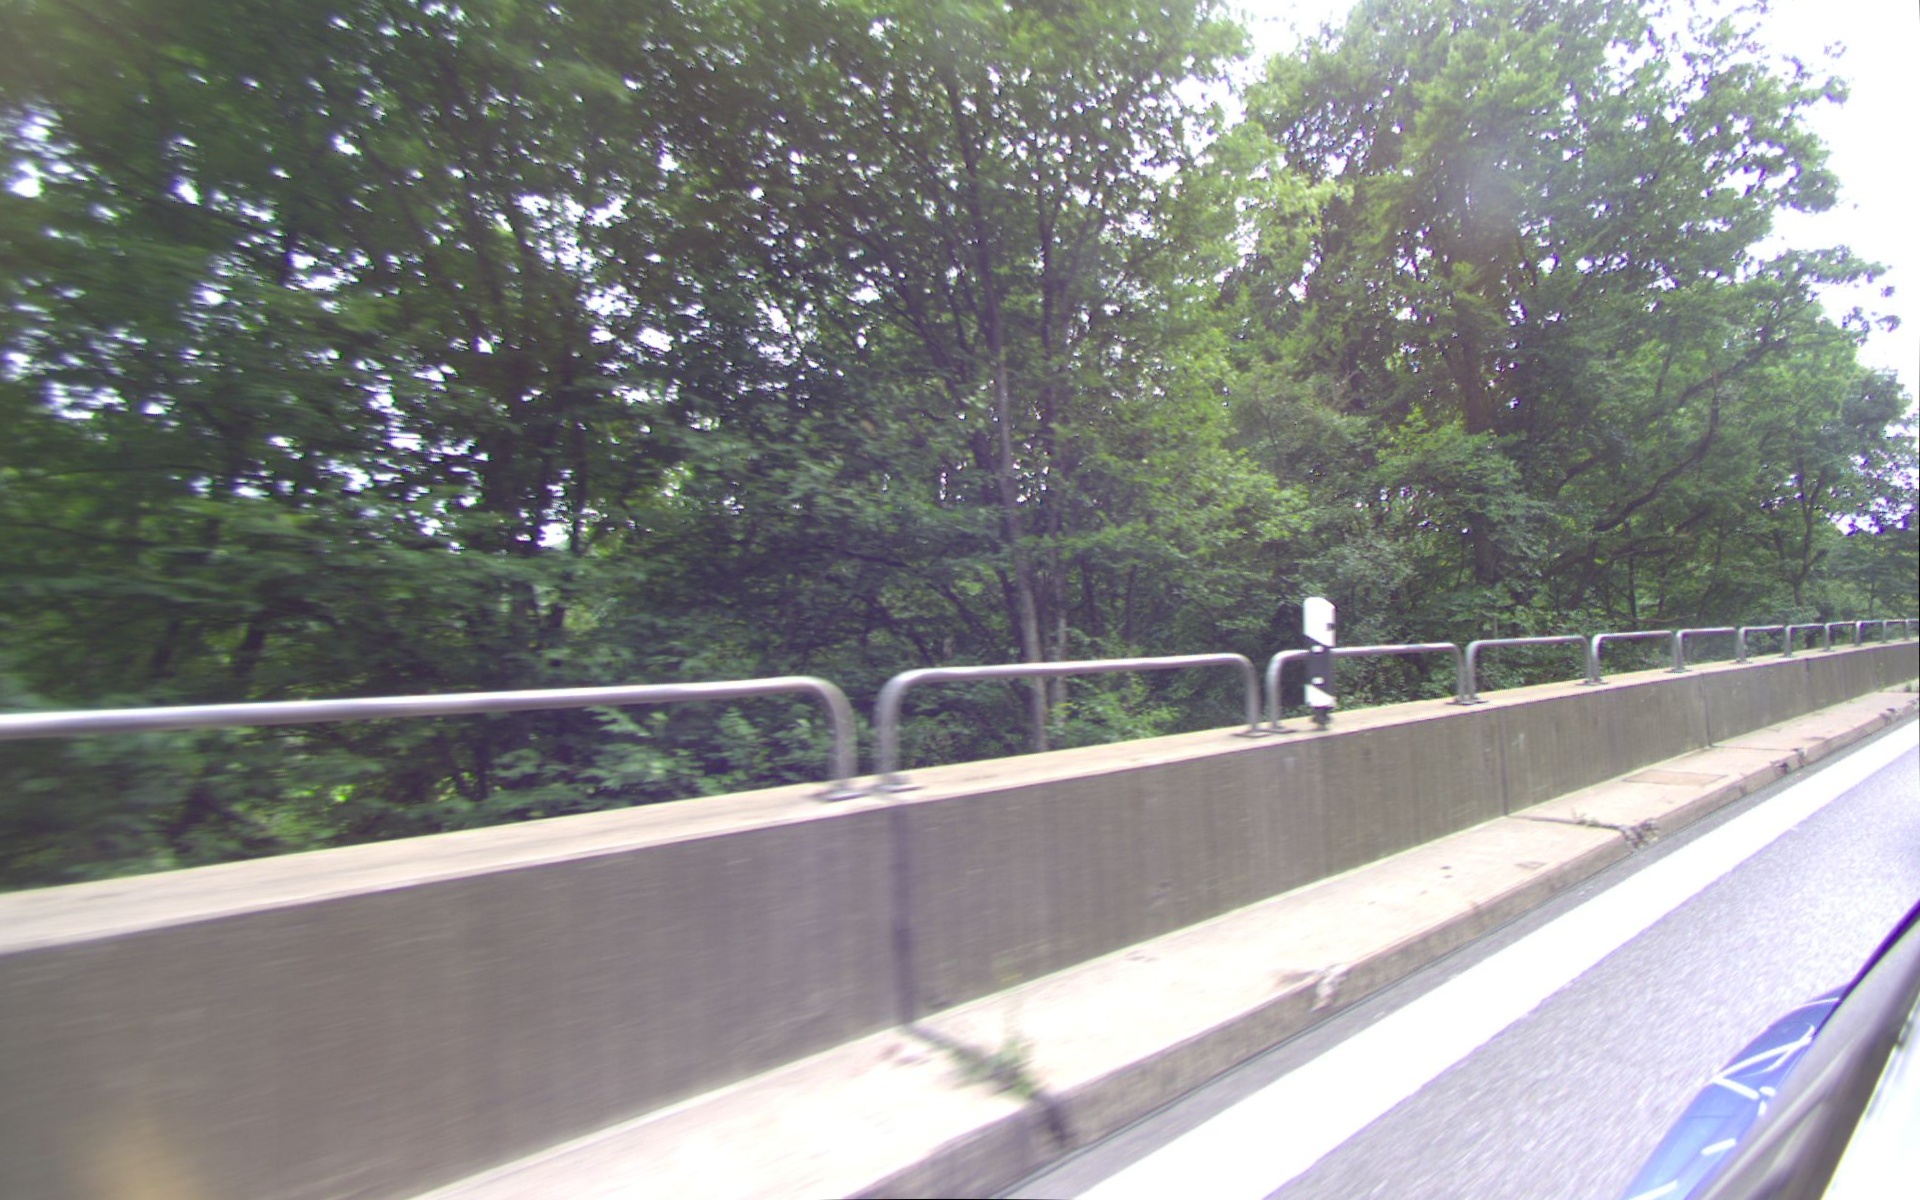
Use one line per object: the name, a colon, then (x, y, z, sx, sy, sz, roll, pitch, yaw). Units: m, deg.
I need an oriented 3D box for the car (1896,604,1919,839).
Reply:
car: (8.265, 0.737, 6.955, 4.917, 1.415, 1.998, 0, 1, -39)
